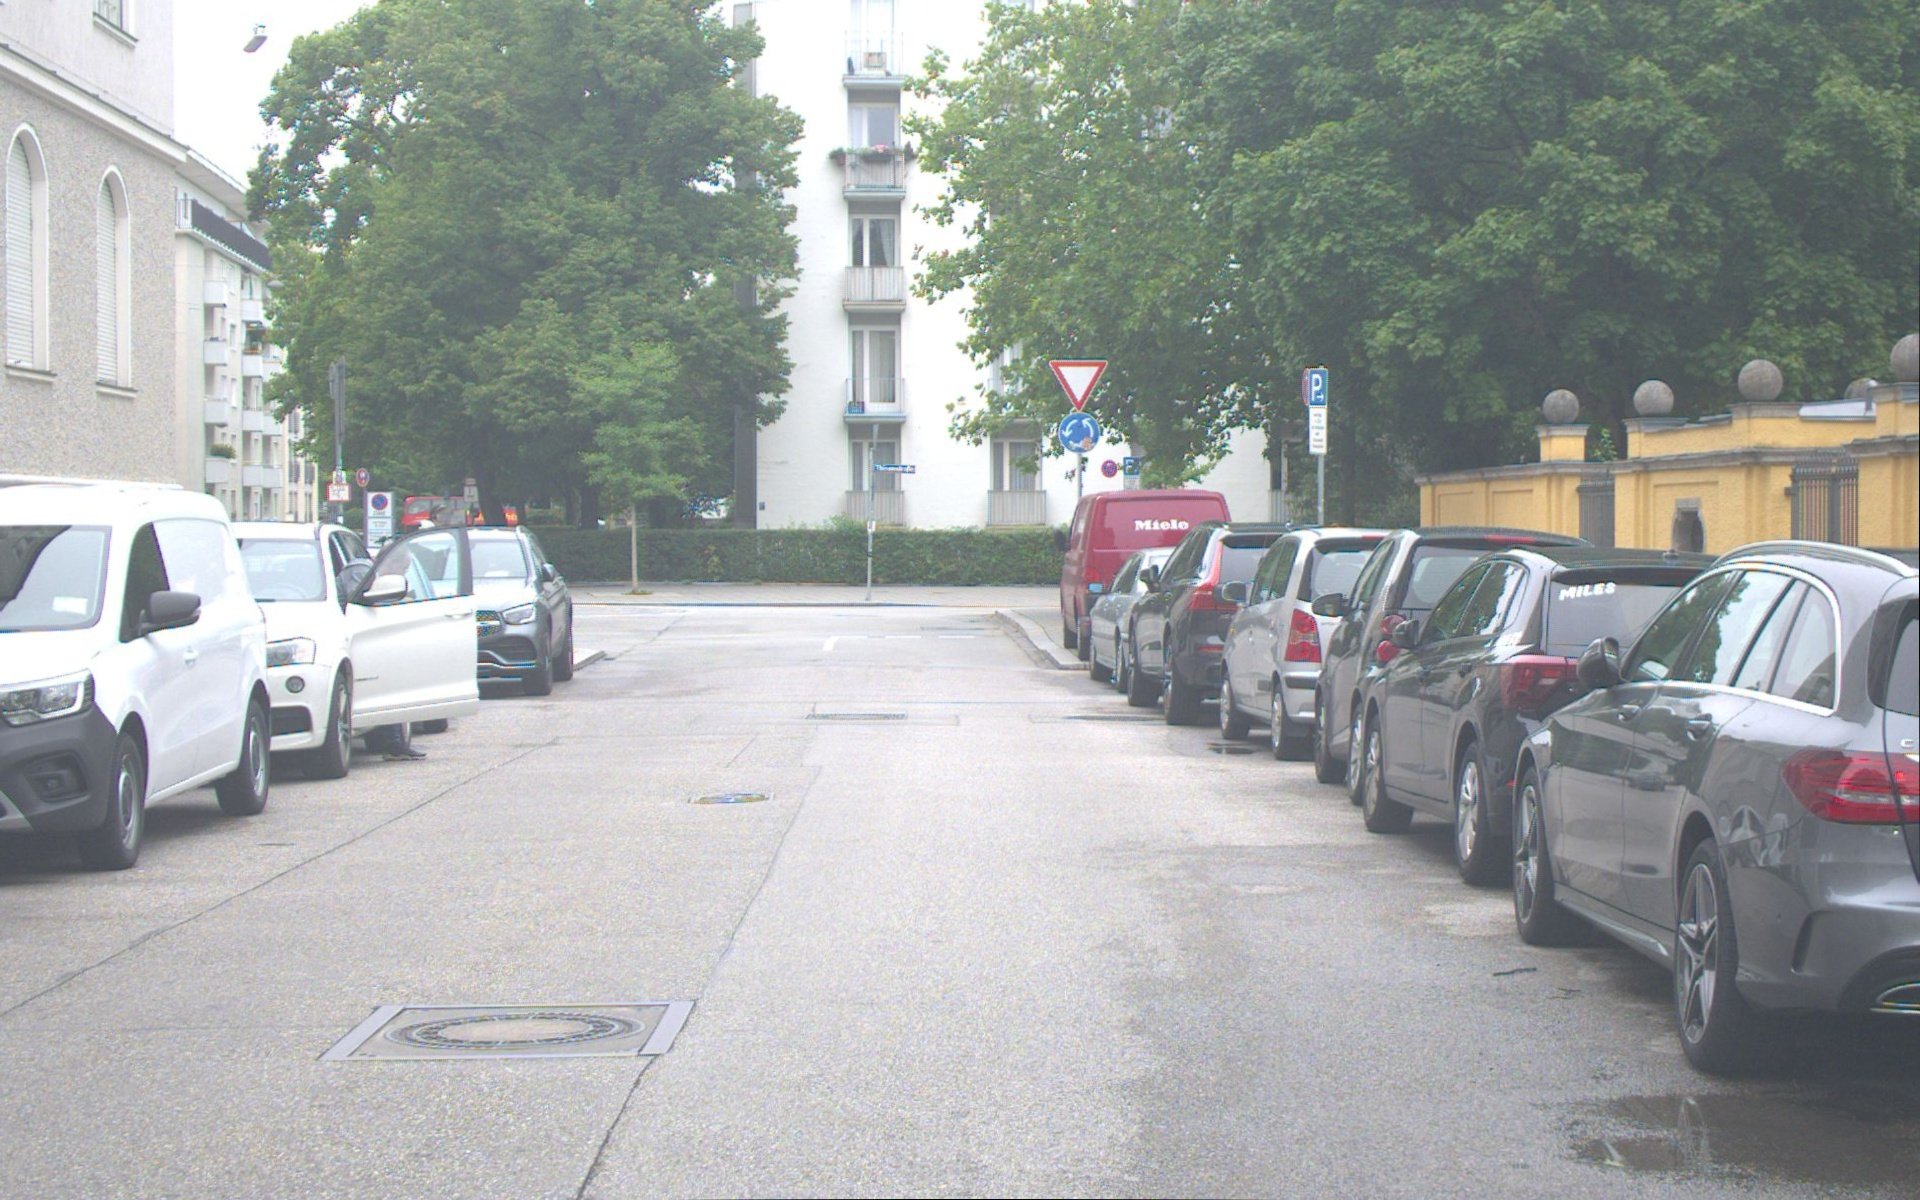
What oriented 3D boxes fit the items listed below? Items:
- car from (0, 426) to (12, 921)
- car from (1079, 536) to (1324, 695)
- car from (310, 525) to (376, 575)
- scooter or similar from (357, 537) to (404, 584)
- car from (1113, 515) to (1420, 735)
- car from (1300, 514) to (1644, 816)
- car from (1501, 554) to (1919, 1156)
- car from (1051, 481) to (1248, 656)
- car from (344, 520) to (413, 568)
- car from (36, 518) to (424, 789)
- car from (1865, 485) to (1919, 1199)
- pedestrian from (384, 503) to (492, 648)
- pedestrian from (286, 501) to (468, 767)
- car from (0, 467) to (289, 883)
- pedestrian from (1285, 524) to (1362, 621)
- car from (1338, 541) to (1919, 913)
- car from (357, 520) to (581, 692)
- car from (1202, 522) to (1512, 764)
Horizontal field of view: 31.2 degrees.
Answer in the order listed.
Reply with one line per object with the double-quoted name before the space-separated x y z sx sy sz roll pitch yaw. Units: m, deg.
"car" -4.615 0.346 10.983 1.856 1.931 4.958 -1 1 -1
"car" 2.398 0.108 35.229 1.884 1.443 4.369 2 1 -4
"car" -19.520 -1.592 108.910 1.835 1.500 4.116 -1 1 -8
"scooter or similar" -13.494 -0.927 79.999 0.999 1.085 0.390 0 1 -32
"car" 2.491 0.143 29.131 1.884 1.647 4.825 2 1 -3
"car" 2.879 0.320 19.822 1.508 1.560 2.869 2 1 0
"car" 2.854 0.583 10.523 1.692 1.410 4.516 0 1 0
"car" 2.183 -0.403 40.951 1.873 1.914 4.888 1 1 -2
"car" -20.178 -1.961 119.333 1.835 1.629 3.820 -1 1 -2
"car" -4.747 0.277 22.957 1.746 1.596 4.497 -1 1 -2
"car" 2.810 0.589 4.992 1.713 1.565 4.691 0 1 -1
"pedestrian" -6.467 -0.310 42.595 1.048 1.765 0.876 -1 1 -34
"pedestrian" -3.947 0.209 23.246 0.961 1.749 0.877 0 1 -31
"car" -4.703 0.283 17.259 1.746 1.782 5.037 -1 1 -1
"pedestrian" 5.079 -0.390 48.033 1.009 1.333 0.876 0 1 2
"car" 2.885 0.474 15.711 1.692 1.410 4.037 2 1 -2
"car" -4.898 0.011 34.812 1.746 1.596 4.497 -1 1 -2
"car" 2.719 0.241 24.251 1.484 1.534 3.693 2 1 -4
